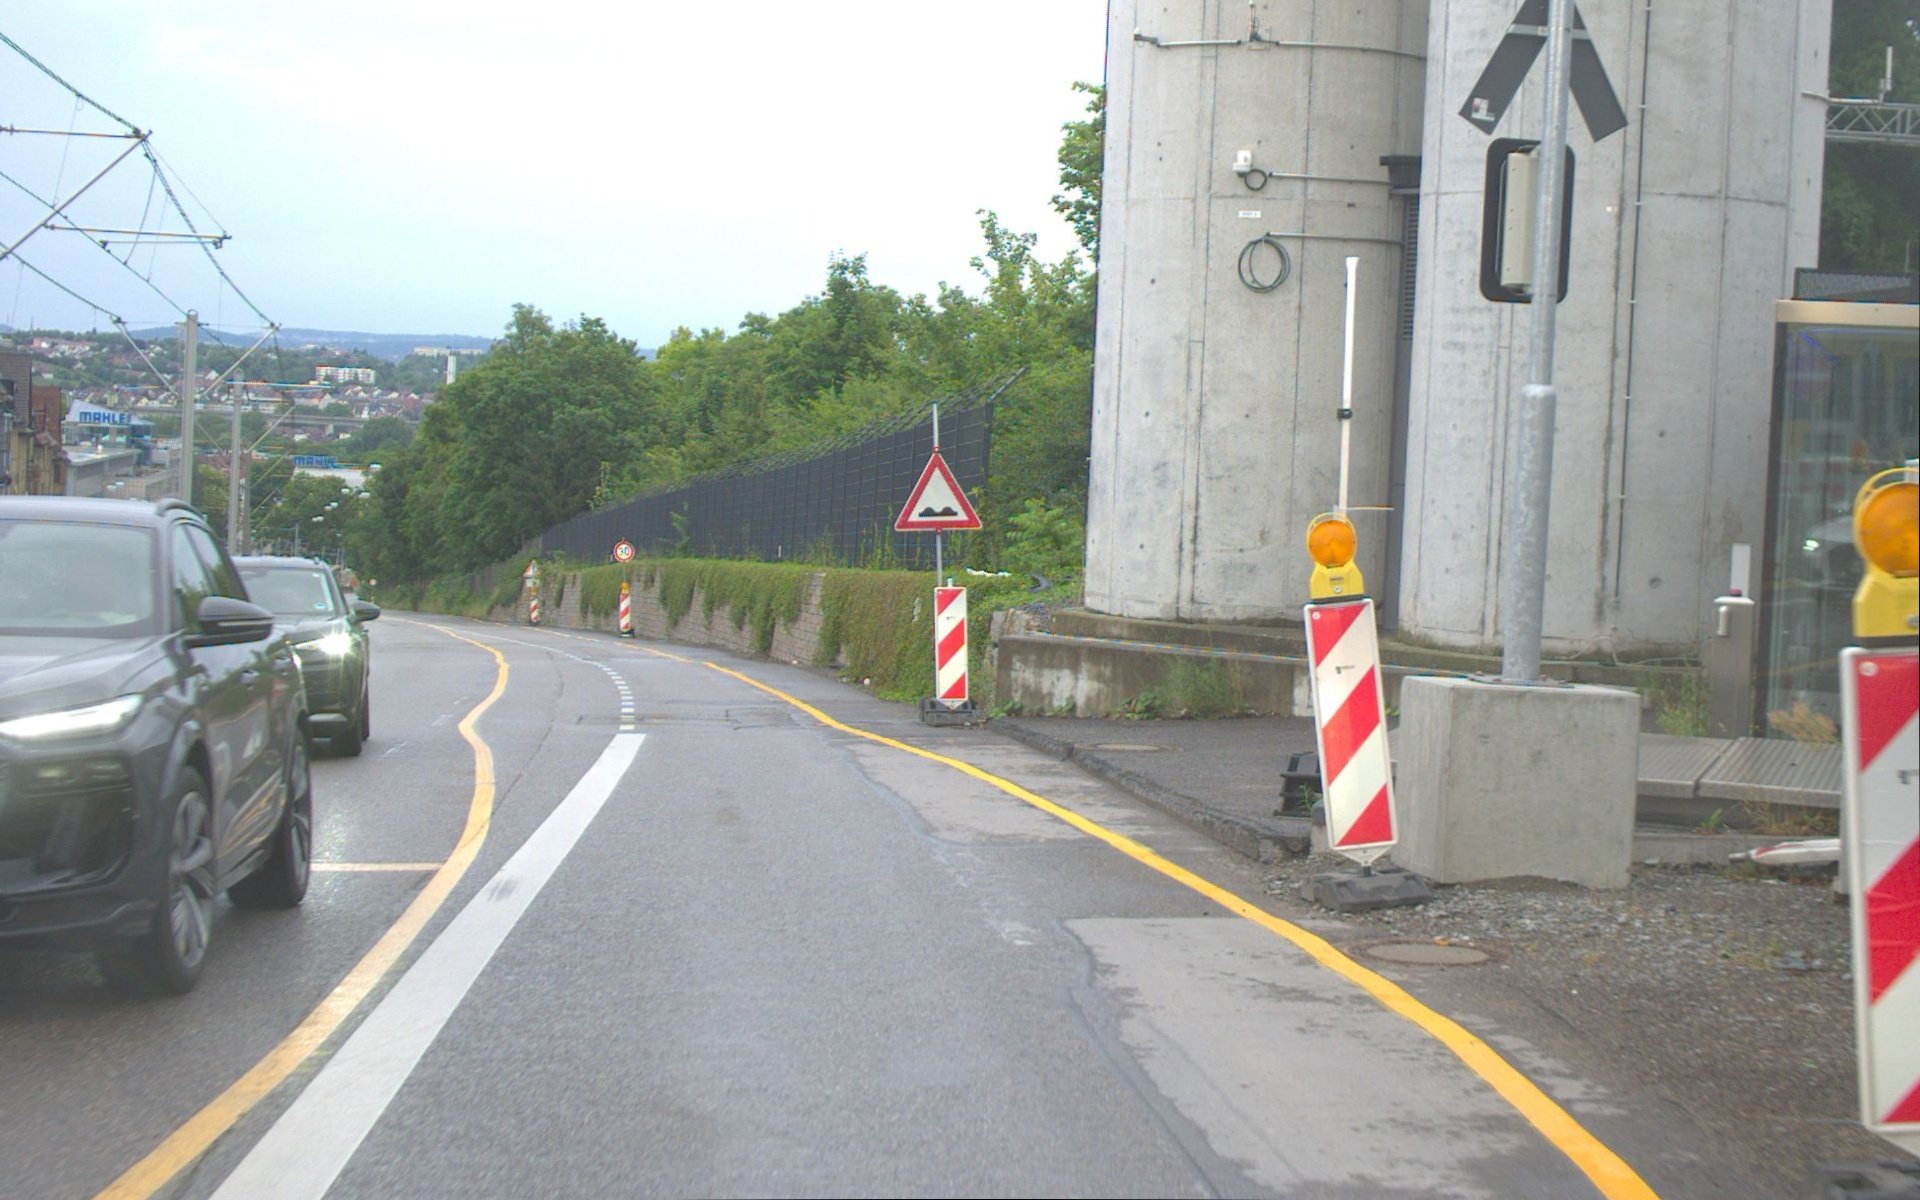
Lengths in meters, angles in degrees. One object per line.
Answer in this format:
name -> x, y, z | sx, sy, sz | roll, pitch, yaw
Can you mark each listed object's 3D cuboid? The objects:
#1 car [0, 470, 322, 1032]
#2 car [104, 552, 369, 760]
car -> -3.538, 0.390, 12.432 | 1.993, 1.672, 4.490 | 1, 1, -5
car -> -5.540, 0.374, 26.712 | 1.788, 1.459, 3.952 | -1, 1, -9
